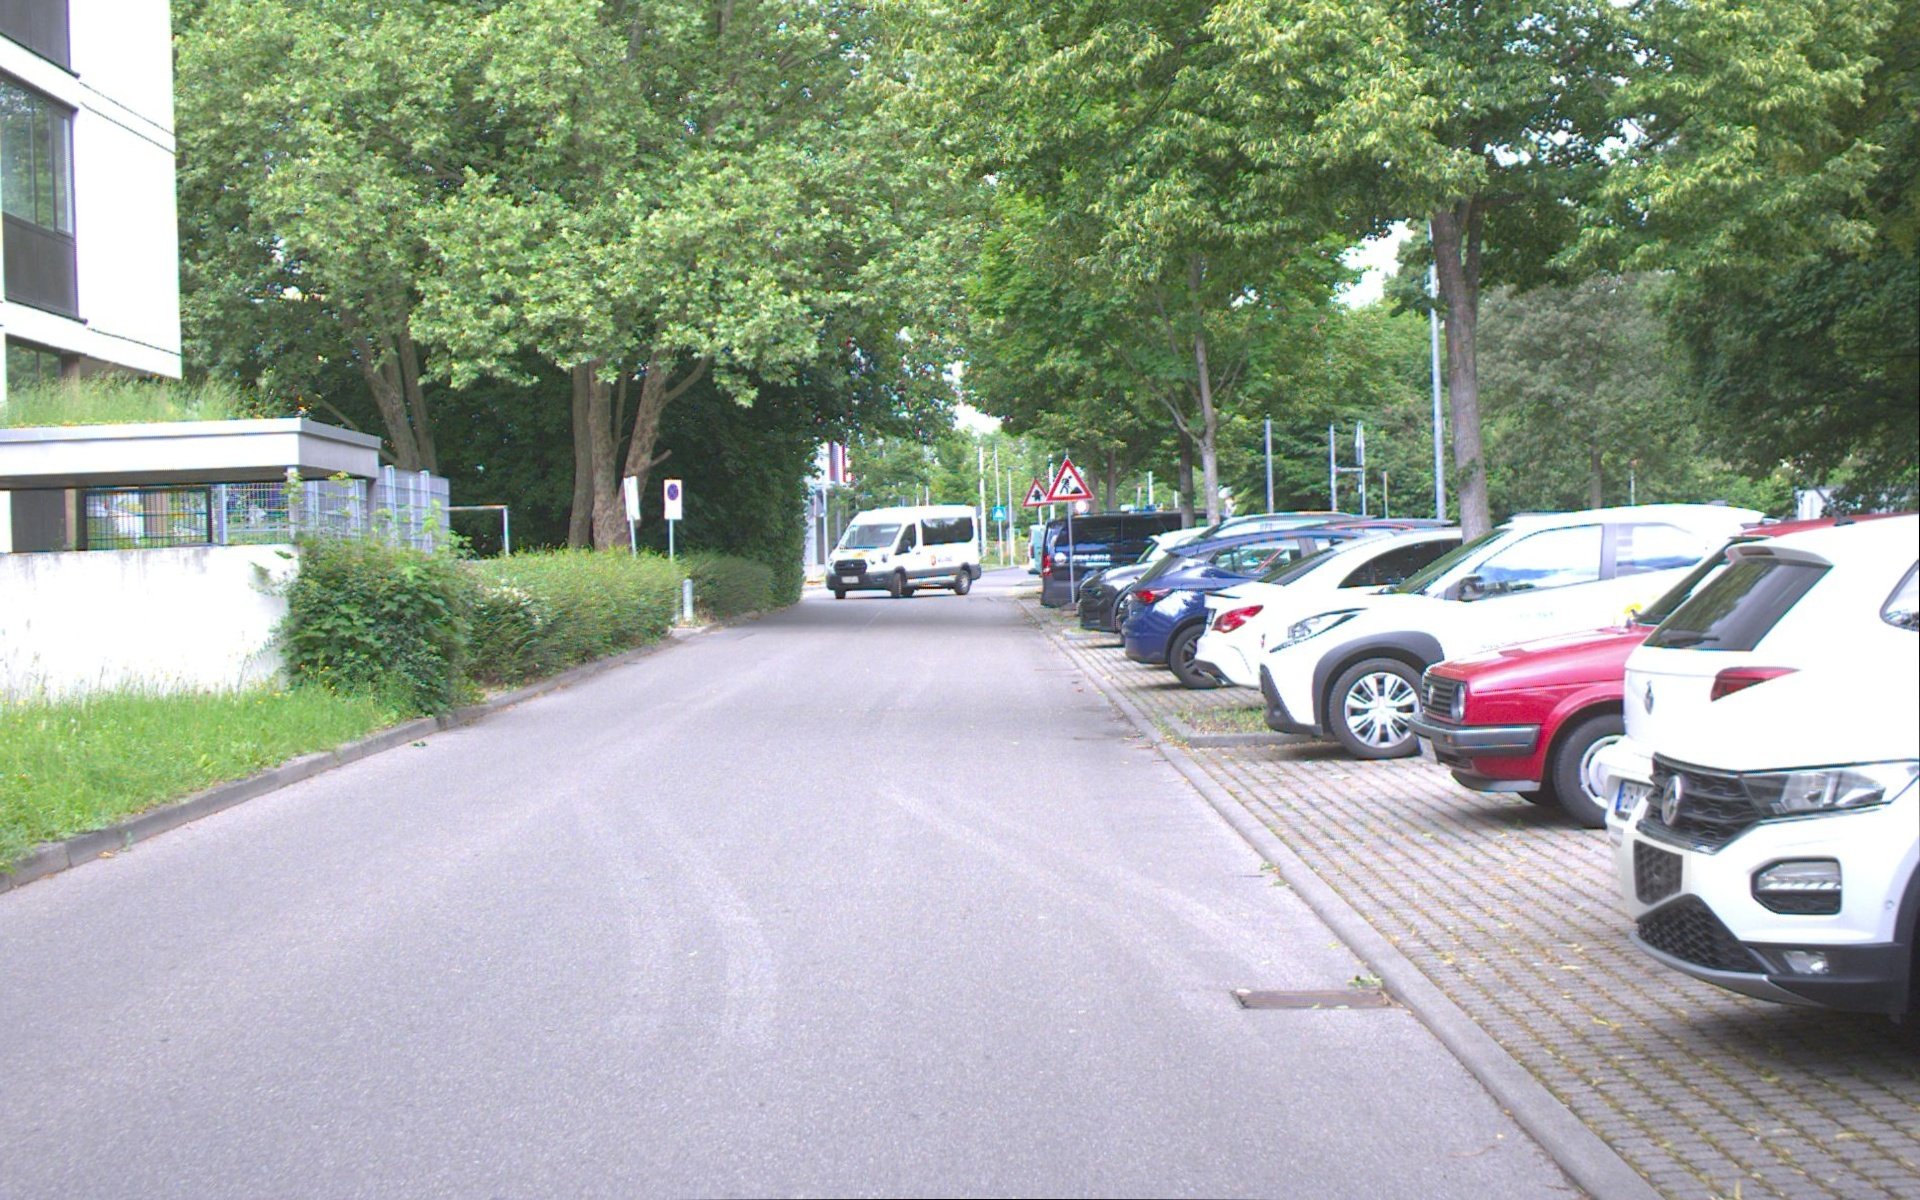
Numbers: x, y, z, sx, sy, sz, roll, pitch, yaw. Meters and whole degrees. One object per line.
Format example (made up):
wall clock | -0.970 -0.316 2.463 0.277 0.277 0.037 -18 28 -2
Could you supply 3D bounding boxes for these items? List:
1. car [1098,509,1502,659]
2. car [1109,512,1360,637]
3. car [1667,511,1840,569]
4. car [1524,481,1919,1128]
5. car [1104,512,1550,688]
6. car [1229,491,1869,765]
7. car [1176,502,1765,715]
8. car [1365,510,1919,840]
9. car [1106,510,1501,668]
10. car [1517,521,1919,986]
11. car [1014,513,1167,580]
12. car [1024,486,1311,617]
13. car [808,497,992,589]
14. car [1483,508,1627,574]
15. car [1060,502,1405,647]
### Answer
car | 4.019 -0.211 41.276 4.636 1.512 1.982 -3 1 2
car | 3.889 -0.383 49.053 3.379 1.569 1.796 -3 1 1
car | 21.515 -1.626 93.341 4.393 1.423 1.703 -1 0 6
car | 3.801 0.391 9.347 4.112 1.542 1.861 -3 1 -2
car | 3.494 -0.011 33.299 4.072 1.451 1.851 -3 1 1
car | 3.736 0.164 22.368 3.840 1.510 1.881 -3 1 3
car | 4.096 0.055 28.139 4.485 1.449 1.846 -3 1 0
car | 4.183 0.294 16.993 4.054 1.417 1.817 -3 1 -1
car | 3.796 -0.130 38.435 4.072 1.512 1.851 -3 1 -3
car | 4.153 0.396 11.903 4.007 1.417 1.792 -3 1 -5
car | 4.357 -1.799 115.212 4.972 1.965 1.847 -3 1 2
car | 3.701 -0.875 61.907 4.954 2.007 2.166 -4 1 2
car | -1.586 -1.584 94.834 2.136 2.467 6.266 0 1 30
car | 16.263 -1.607 94.140 3.780 1.662 1.767 -2 1 8
car | 3.636 -0.363 46.449 4.415 1.670 2.082 -3 1 0
